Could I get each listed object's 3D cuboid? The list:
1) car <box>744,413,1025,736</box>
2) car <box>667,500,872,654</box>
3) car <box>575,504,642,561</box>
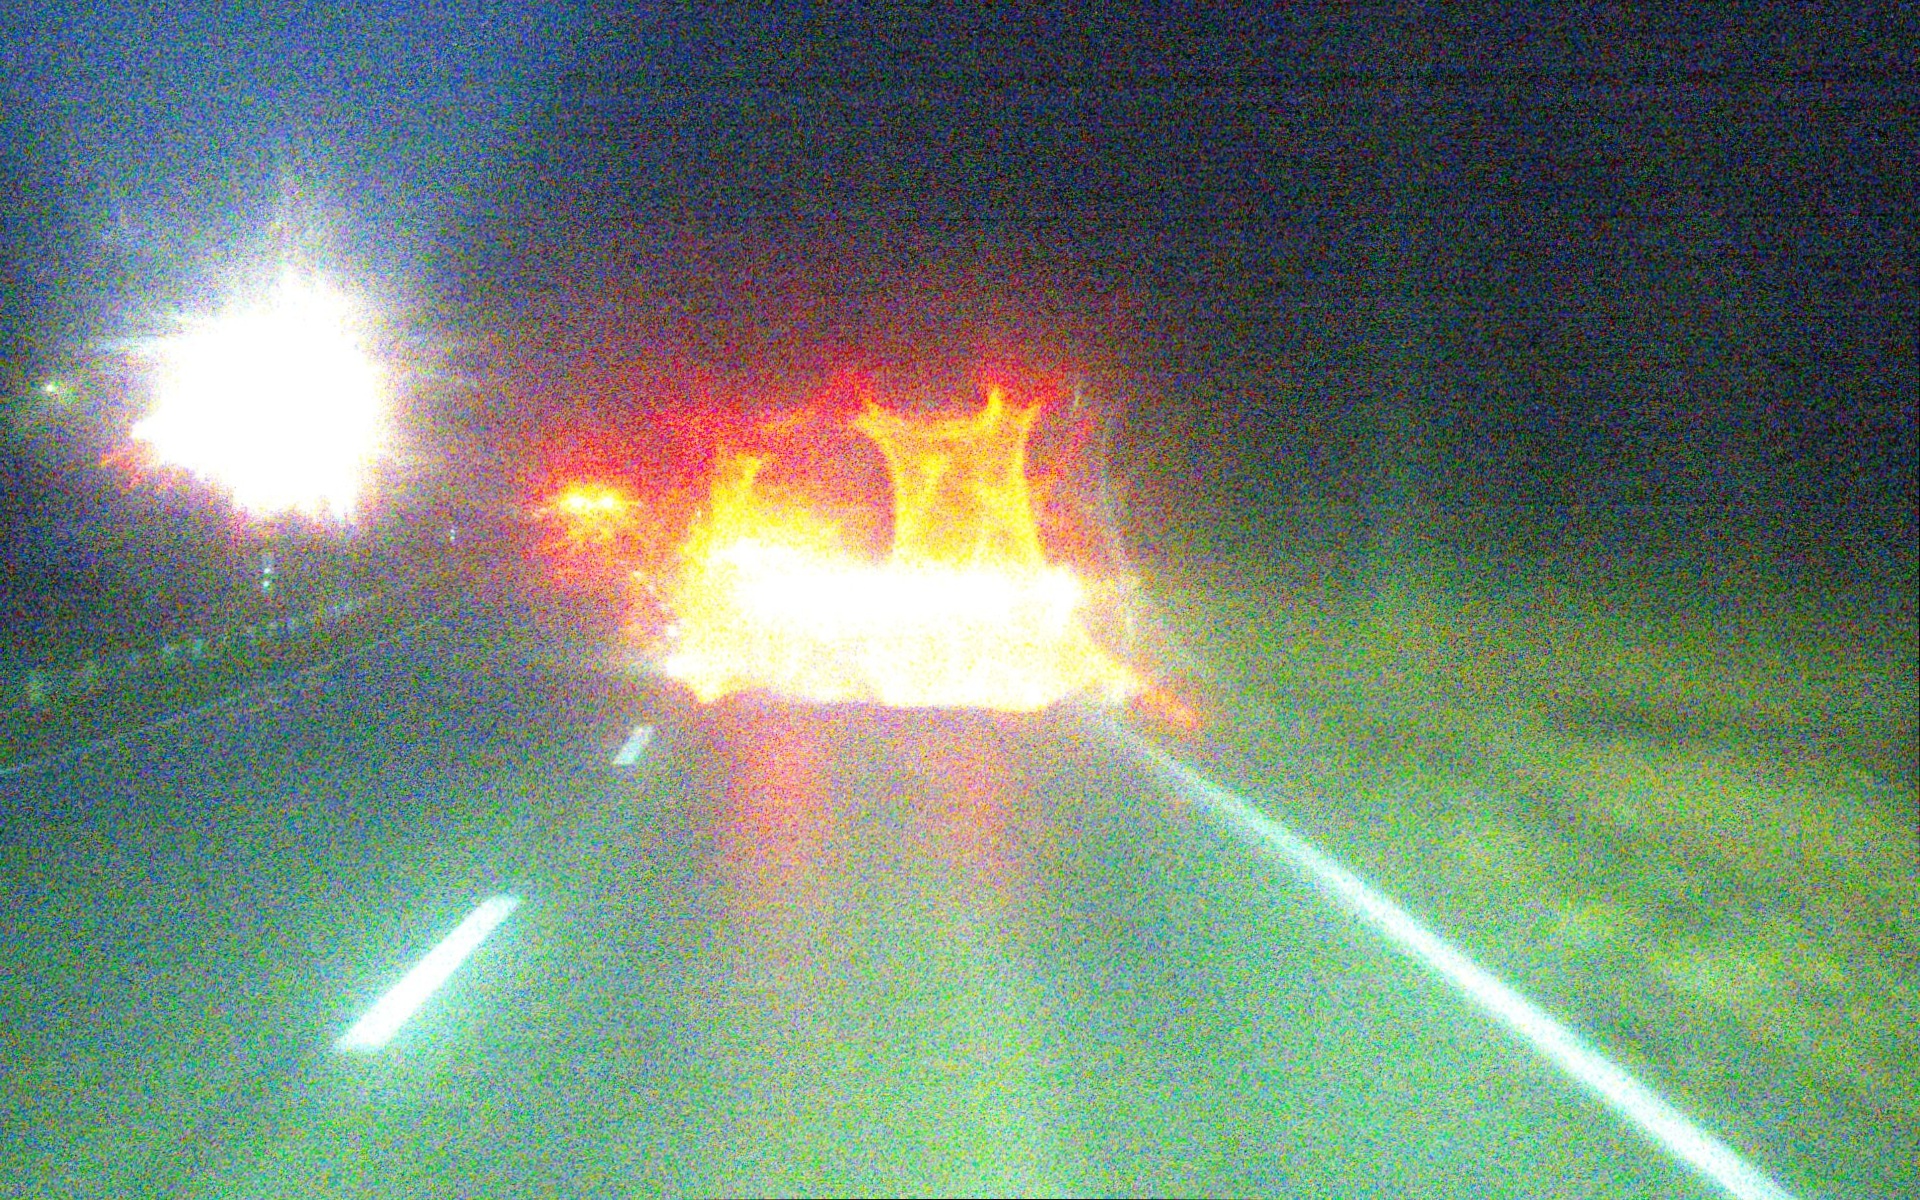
[{"bbox_3d":[-0.755,-0.315,30.457,2.181,2.548,4.509,3,3,-4],"label":"car"},{"bbox_3d":[-3.605,-0.535,66.942,3.381,2.548,7.336,3,3,1],"label":"car"},{"bbox_3d":[-13.273,-2.532,129.953,1.993,2.007,4.000,-3,1,1],"label":"car"}]
